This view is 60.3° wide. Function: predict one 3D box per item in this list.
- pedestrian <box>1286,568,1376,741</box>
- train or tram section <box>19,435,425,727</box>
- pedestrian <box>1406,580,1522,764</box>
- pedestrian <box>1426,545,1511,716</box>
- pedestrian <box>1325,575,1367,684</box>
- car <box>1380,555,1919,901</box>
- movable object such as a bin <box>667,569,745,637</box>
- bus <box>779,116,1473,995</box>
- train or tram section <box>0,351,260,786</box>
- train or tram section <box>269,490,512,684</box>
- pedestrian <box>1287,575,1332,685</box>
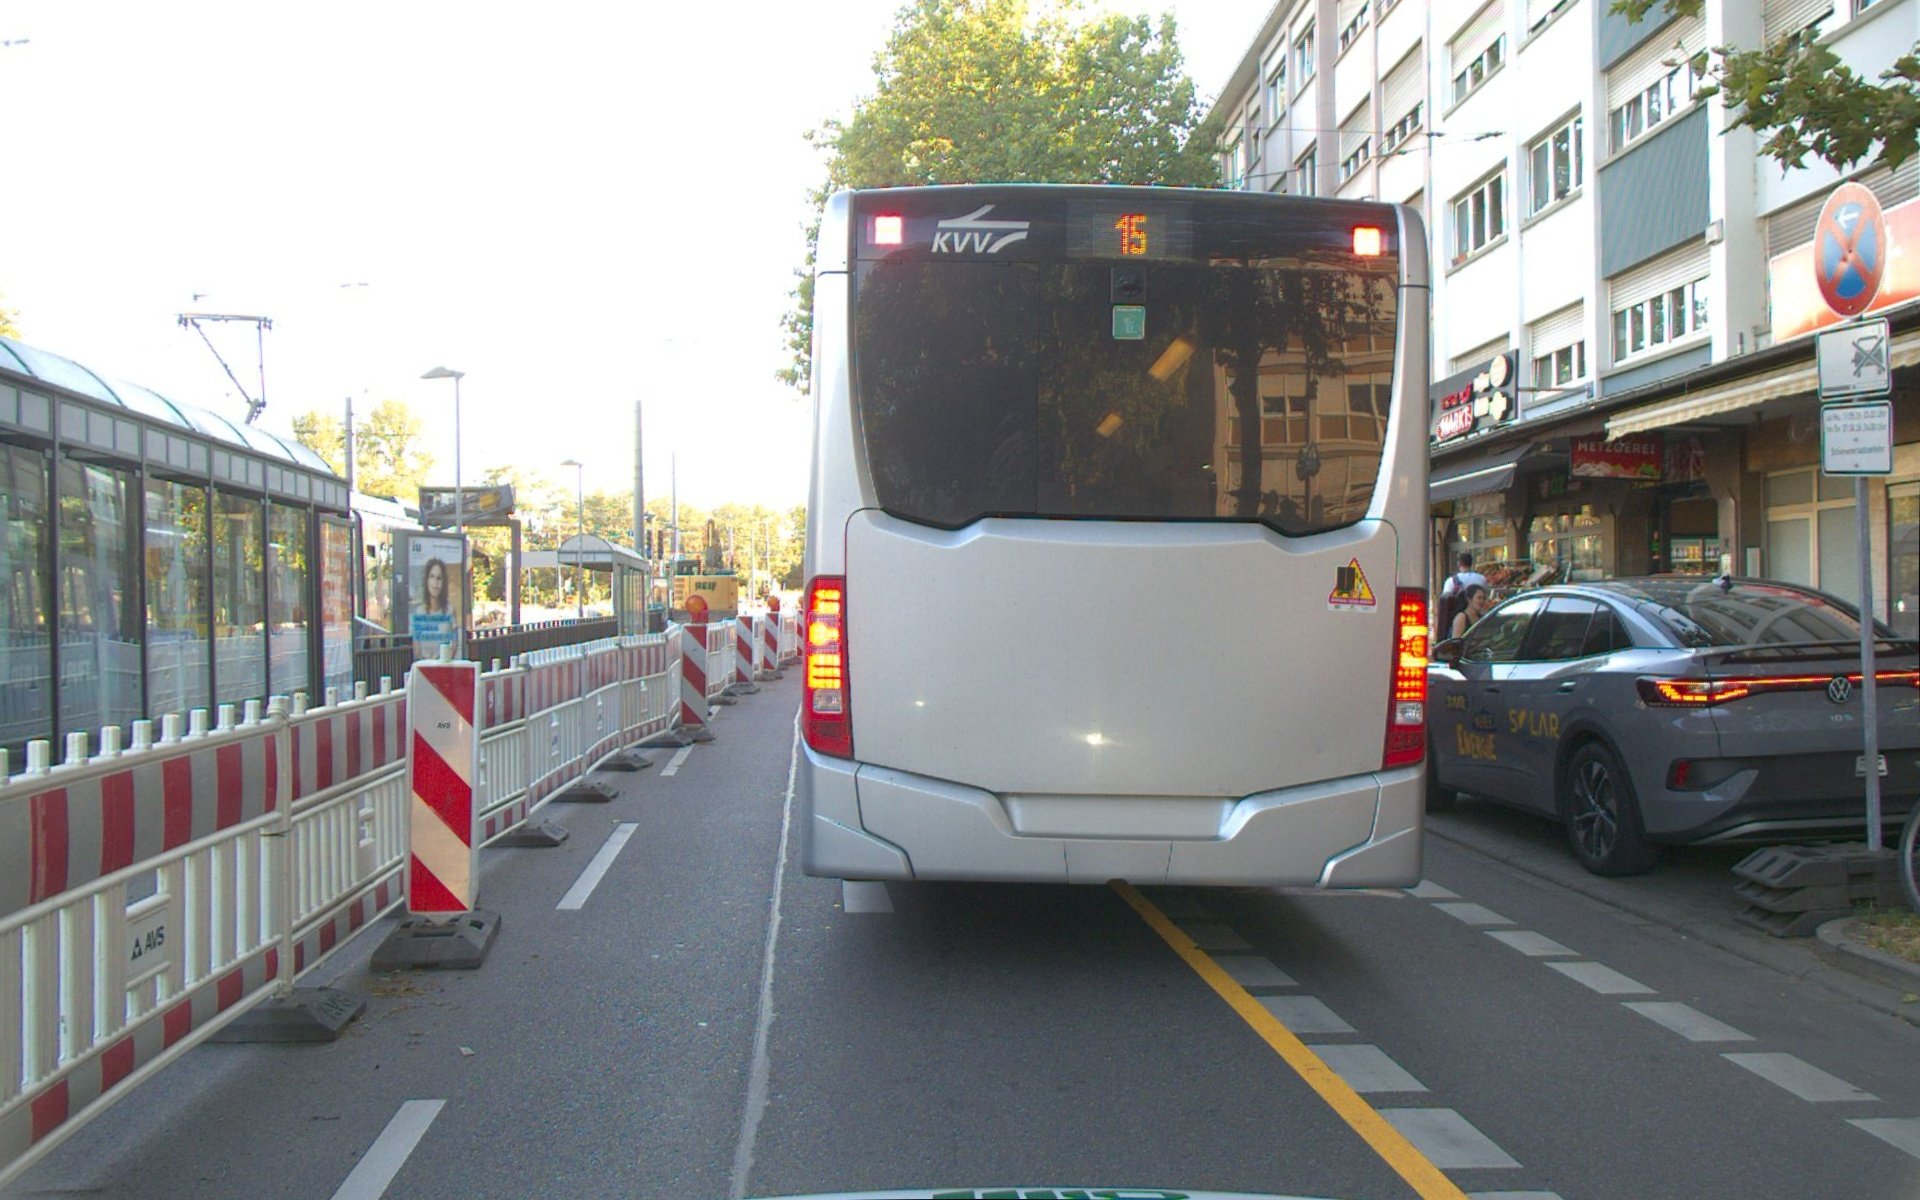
[{"bbox_3d":[3.844,0.554,17.186,0.738,1.756,0.660,-1,0,-3],"label":"pedestrian"},{"bbox_3d":[-10.679,-0.223,25.386,2.781,3.548,10.322,0,0,-7],"label":"train or tram section"},{"bbox_3d":[4.582,0.632,15.029,0.737,1.608,0.873,-1,-1,37],"label":"pedestrian"},{"bbox_3d":[6.306,0.372,20.529,0.754,2.049,0.713,-2,0,-2],"label":"pedestrian"},{"bbox_3d":[7.352,0.564,31.522,0.600,2.049,0.696,-1,0,-1],"label":"pedestrian"},{"bbox_3d":[4.216,0.614,10.299,1.706,1.625,4.294,-3,0,-5],"label":"car"},{"bbox_3d":[-9.703,0.122,63.502,2.752,2.505,3.995,-1,0,-6],"label":"movable object such as a bin"},{"bbox_3d":[0.575,-0.177,11.240,2.555,3.225,10.290,0,0,-1],"label":"bus"},{"bbox_3d":[-9.436,-0.250,15.100,2.816,3.548,10.323,0,0,-7],"label":"train or tram section"},{"bbox_3d":[-11.873,-0.233,35.621,2.762,3.548,10.323,0,0,-6],"label":"train or tram section"},{"bbox_3d":[6.639,0.567,31.418,0.677,2.049,0.696,-1,0,-1],"label":"pedestrian"}]
